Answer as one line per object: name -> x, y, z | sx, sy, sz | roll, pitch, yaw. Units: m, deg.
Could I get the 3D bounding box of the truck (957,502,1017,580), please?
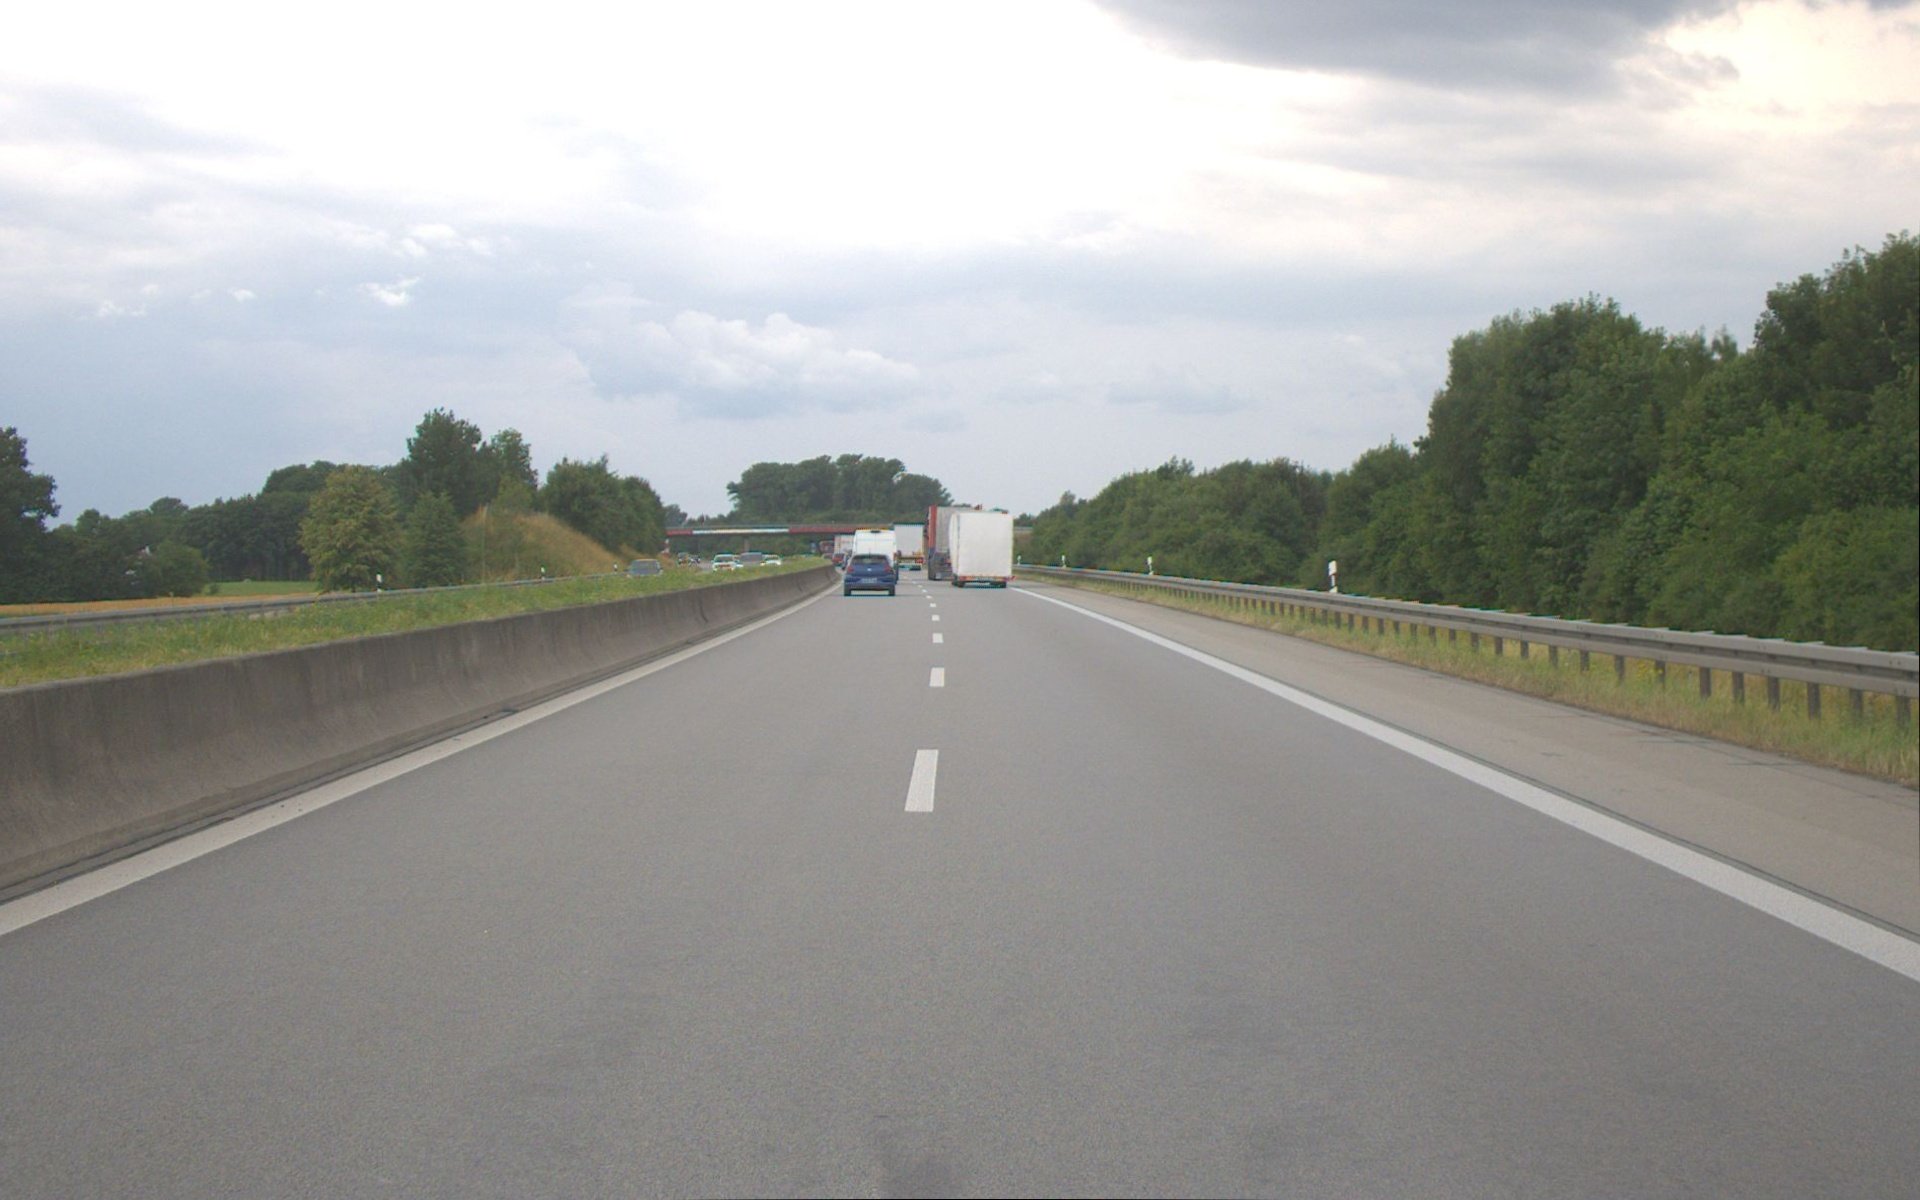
truck -> 1.115, -2.447, 143.990 | 2.415, 3.211, 7.144 | 0, 1, 0

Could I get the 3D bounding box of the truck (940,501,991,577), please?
truck -> 0.318, -3.321, 186.286 | 2.673, 4.032, 5.512 | -1, 1, 0

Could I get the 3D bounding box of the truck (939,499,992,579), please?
truck -> 0.304, -3.211, 180.833 | 2.673, 4.032, 11.108 | -1, 1, 0

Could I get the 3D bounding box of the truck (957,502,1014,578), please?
truck -> 1.101, -2.602, 151.174 | 2.429, 3.232, 7.247 | 0, 1, 0

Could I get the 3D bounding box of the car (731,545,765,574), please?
car -> -13.082, -2.486, 212.267 | 1.841, 1.688, 4.358 | -2, 1, -2

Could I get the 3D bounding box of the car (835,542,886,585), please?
car -> -3.362, -1.235, 115.558 | 1.663, 1.402, 3.649 | 0, 1, -3

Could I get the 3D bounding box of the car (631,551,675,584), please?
car -> -14.904, -1.590, 167.067 | 1.746, 1.482, 4.530 | -2, 1, -1

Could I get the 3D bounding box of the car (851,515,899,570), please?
car -> -3.887, -2.632, 157.941 | 2.130, 2.474, 5.840 | -1, 1, -1
